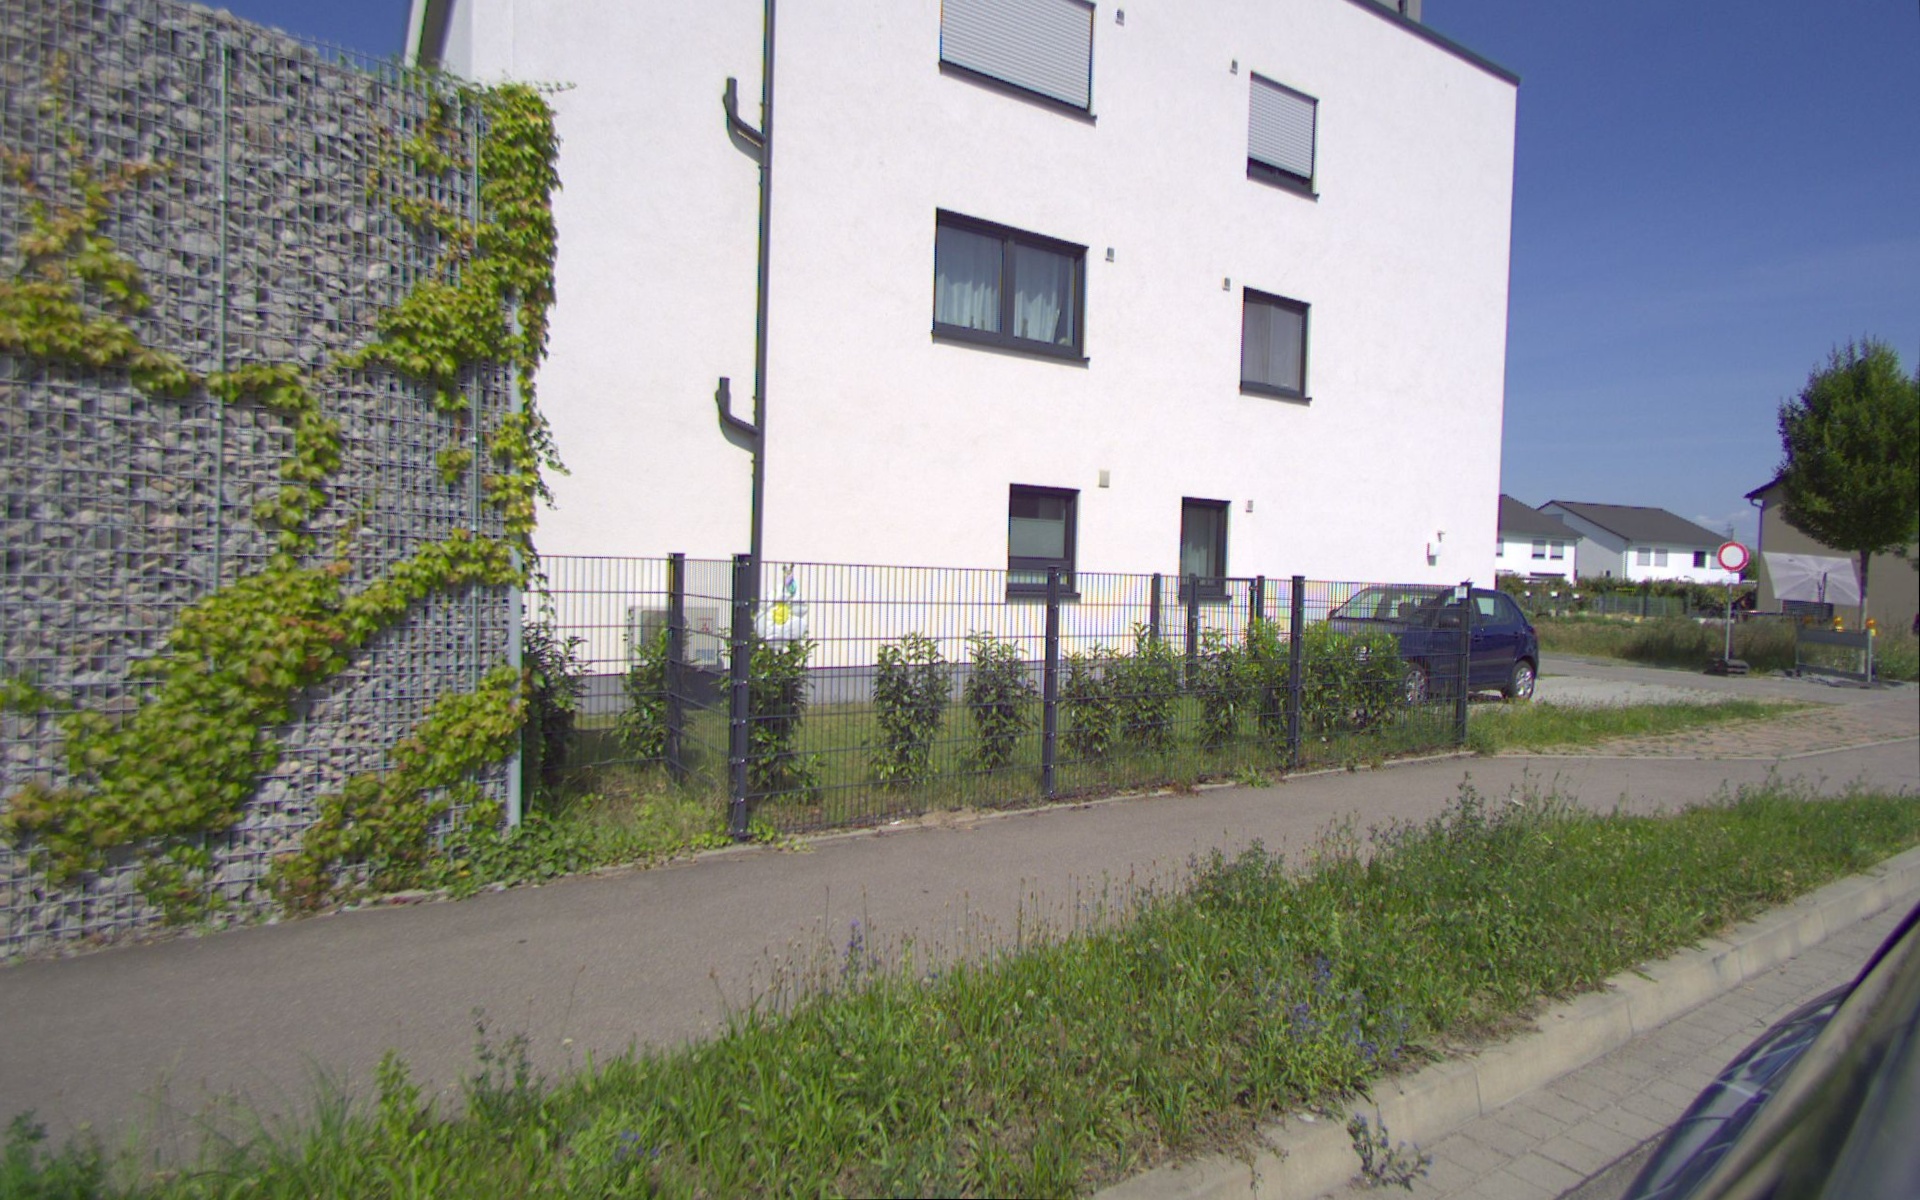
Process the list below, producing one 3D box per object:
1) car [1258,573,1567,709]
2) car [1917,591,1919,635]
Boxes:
[{"bbox_3d":[5.865,0.476,12.983,4.036,1.488,1.684,1,1,-33],"label":"car"},{"bbox_3d":[38.297,0.641,36.732,1.959,1.664,4.770,0,3,-28],"label":"car"}]
